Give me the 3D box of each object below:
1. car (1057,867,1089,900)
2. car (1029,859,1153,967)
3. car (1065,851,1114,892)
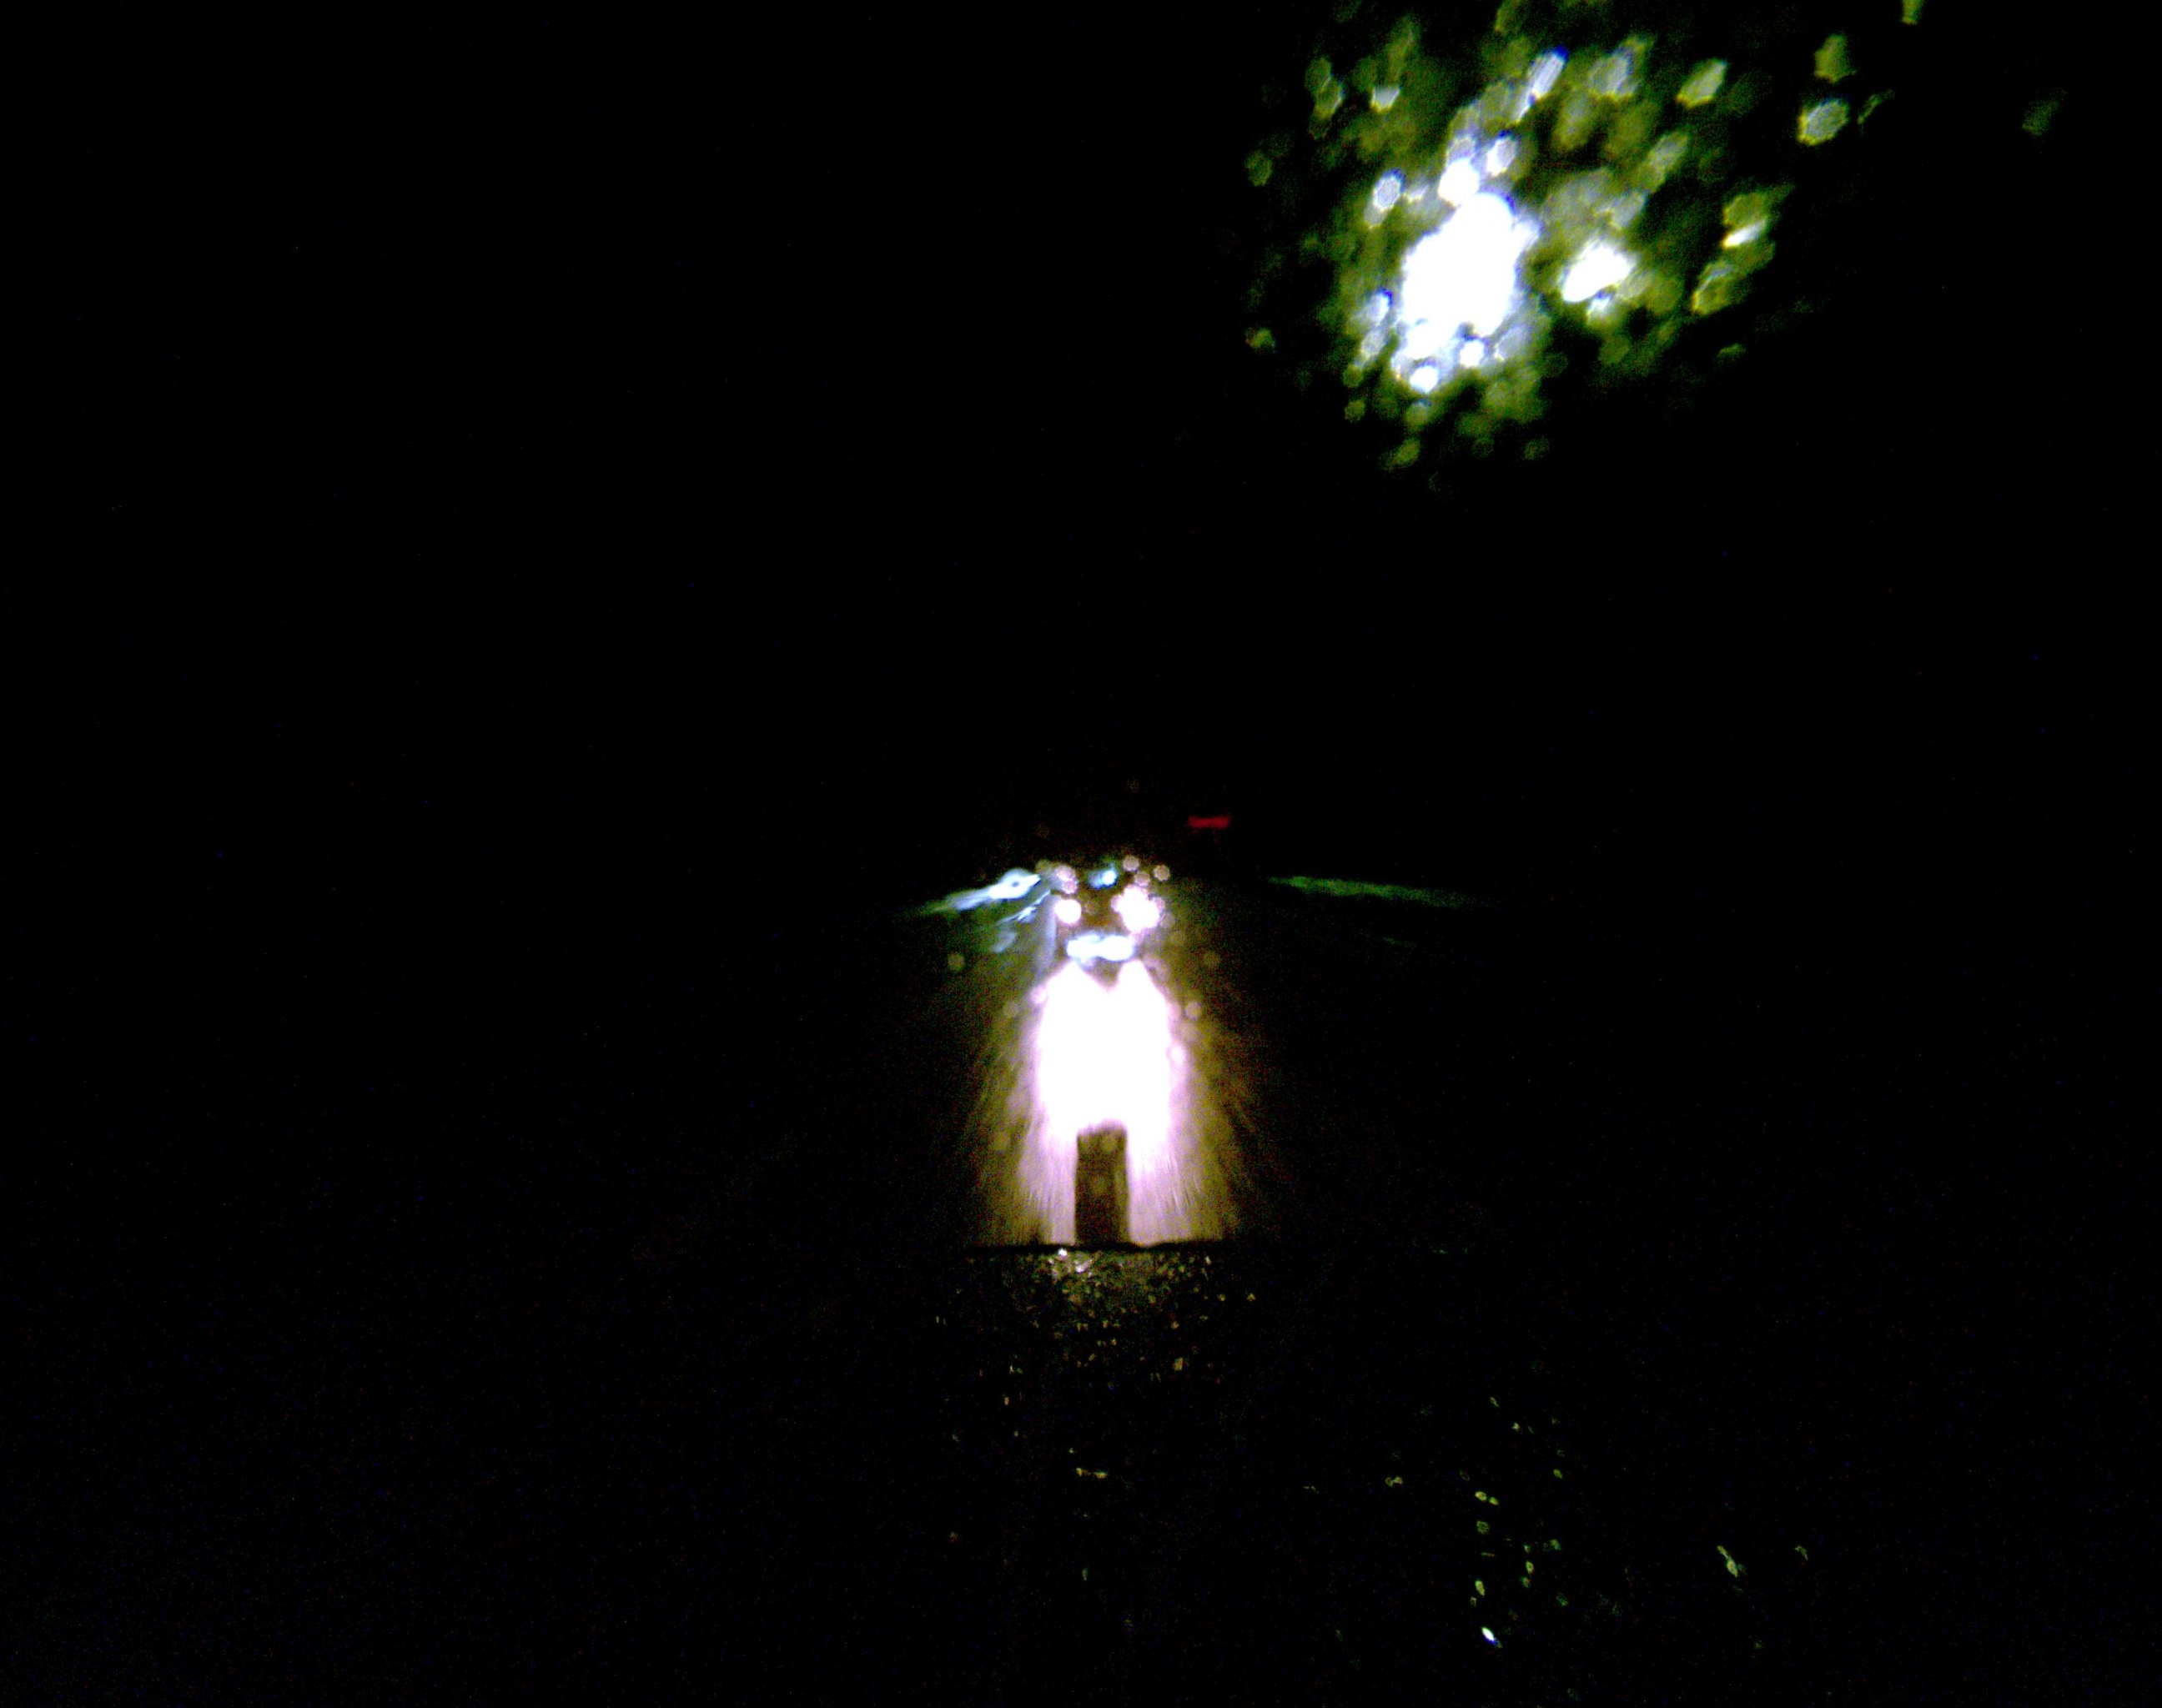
[{"bbox_3d":[-0.494,1.744,46.452,1.784,1.696,3.999,-3,1,0],"label":"car"},{"bbox_3d":[0.297,0.934,13.769,1.848,1.441,4.000,-3,1,4],"label":"car"},{"bbox_3d":[0.422,0.688,32.088,1.849,1.441,3.875,-3,1,3],"label":"car"}]
